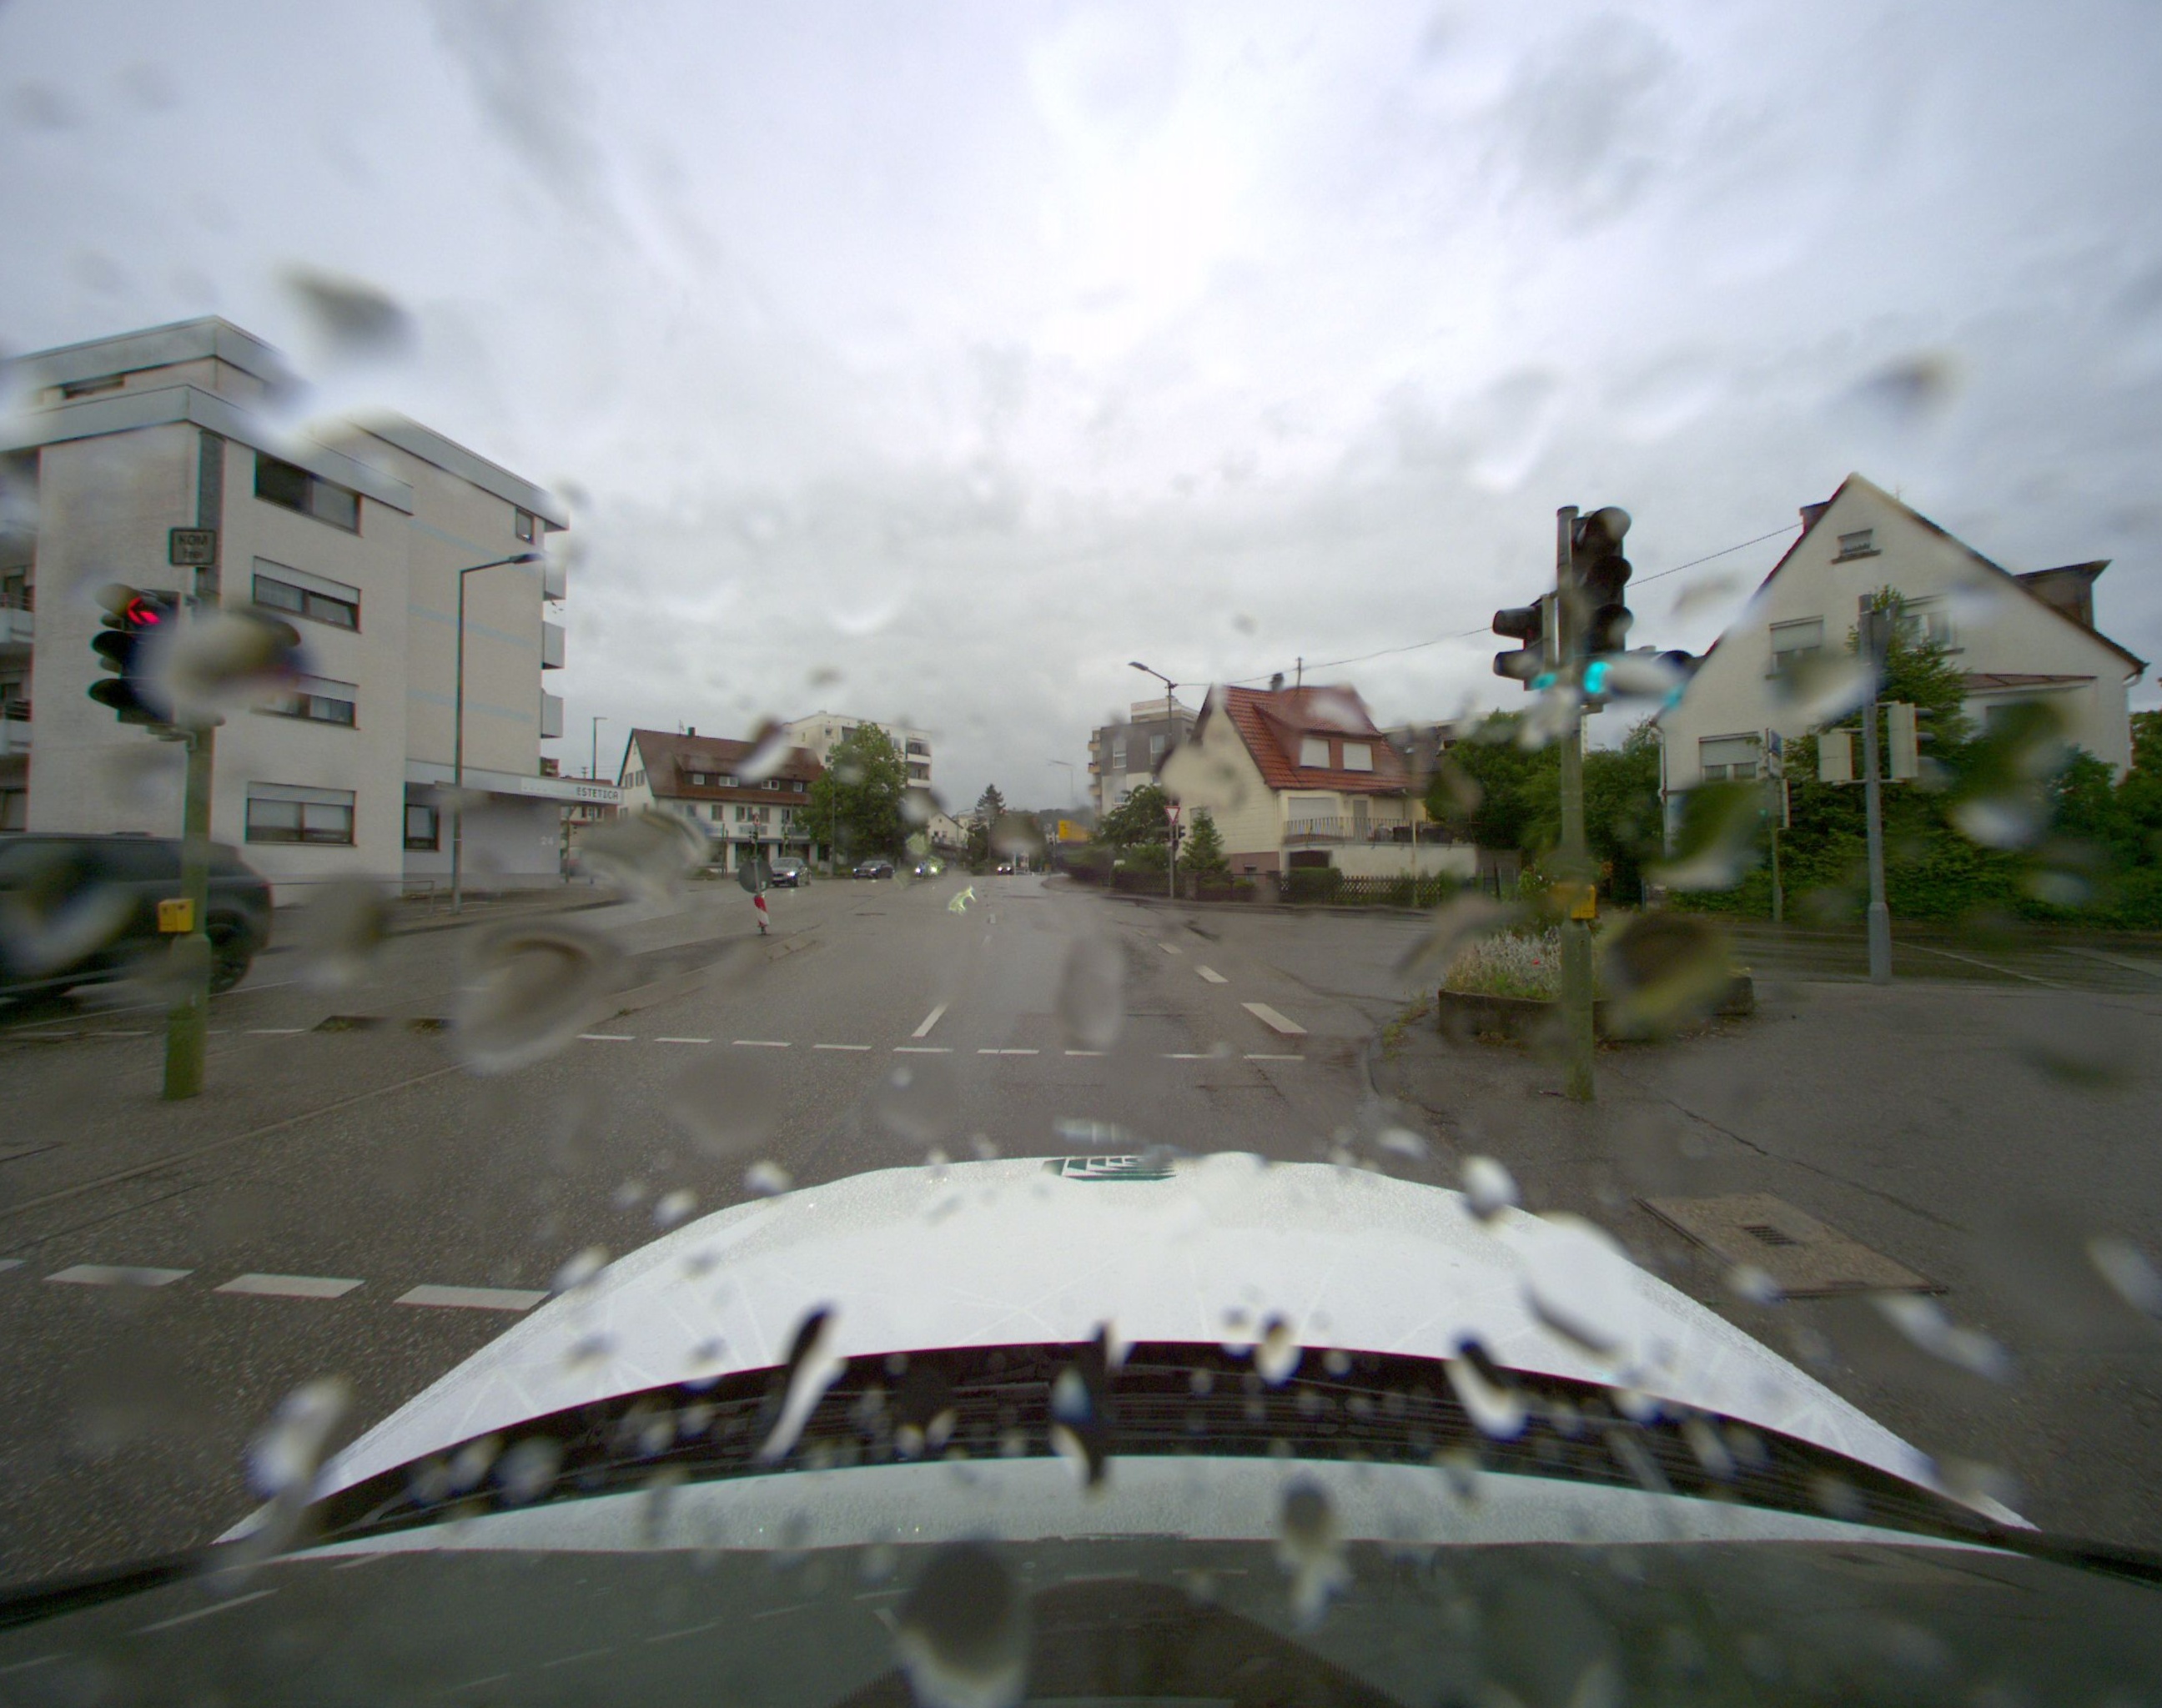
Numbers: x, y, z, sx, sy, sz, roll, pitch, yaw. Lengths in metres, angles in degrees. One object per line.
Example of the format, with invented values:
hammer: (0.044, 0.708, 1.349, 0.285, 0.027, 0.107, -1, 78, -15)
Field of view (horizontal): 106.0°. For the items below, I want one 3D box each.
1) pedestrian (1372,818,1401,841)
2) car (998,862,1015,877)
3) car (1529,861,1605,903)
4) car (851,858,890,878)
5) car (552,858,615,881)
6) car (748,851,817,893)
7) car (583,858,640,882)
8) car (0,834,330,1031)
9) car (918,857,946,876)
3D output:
pedestrian: (12.841, -1.029, 34.201, 0.918, 0.883, 0.632, 0, -3, -17)
car: (-9.537, 1.968, 104.616, 1.989, 1.812, 3.996, 0, -1, -3)
car: (17.164, 0.953, 28.684, 1.794, 1.362, 4.025, -1, -1, 38)
car: (-15.484, 1.027, 60.195, 1.989, 1.463, 3.996, 0, -1, -3)
car: (-41.063, 1.313, 67.263, 4.093, 1.843, 1.864, 1, -2, -44)
car: (-14.332, 0.849, 39.323, 1.989, 1.904, 3.996, 0, -1, -3)
car: (-38.291, 1.271, 66.433, 3.706, 1.920, 1.864, 1, -2, -44)
car: (-10.626, 0.714, 7.958, 1.990, 1.737, 5.173, 0, -1, -4)
car: (-13.563, 1.161, 74.498, 1.989, 1.679, 3.996, 0, -1, -3)
